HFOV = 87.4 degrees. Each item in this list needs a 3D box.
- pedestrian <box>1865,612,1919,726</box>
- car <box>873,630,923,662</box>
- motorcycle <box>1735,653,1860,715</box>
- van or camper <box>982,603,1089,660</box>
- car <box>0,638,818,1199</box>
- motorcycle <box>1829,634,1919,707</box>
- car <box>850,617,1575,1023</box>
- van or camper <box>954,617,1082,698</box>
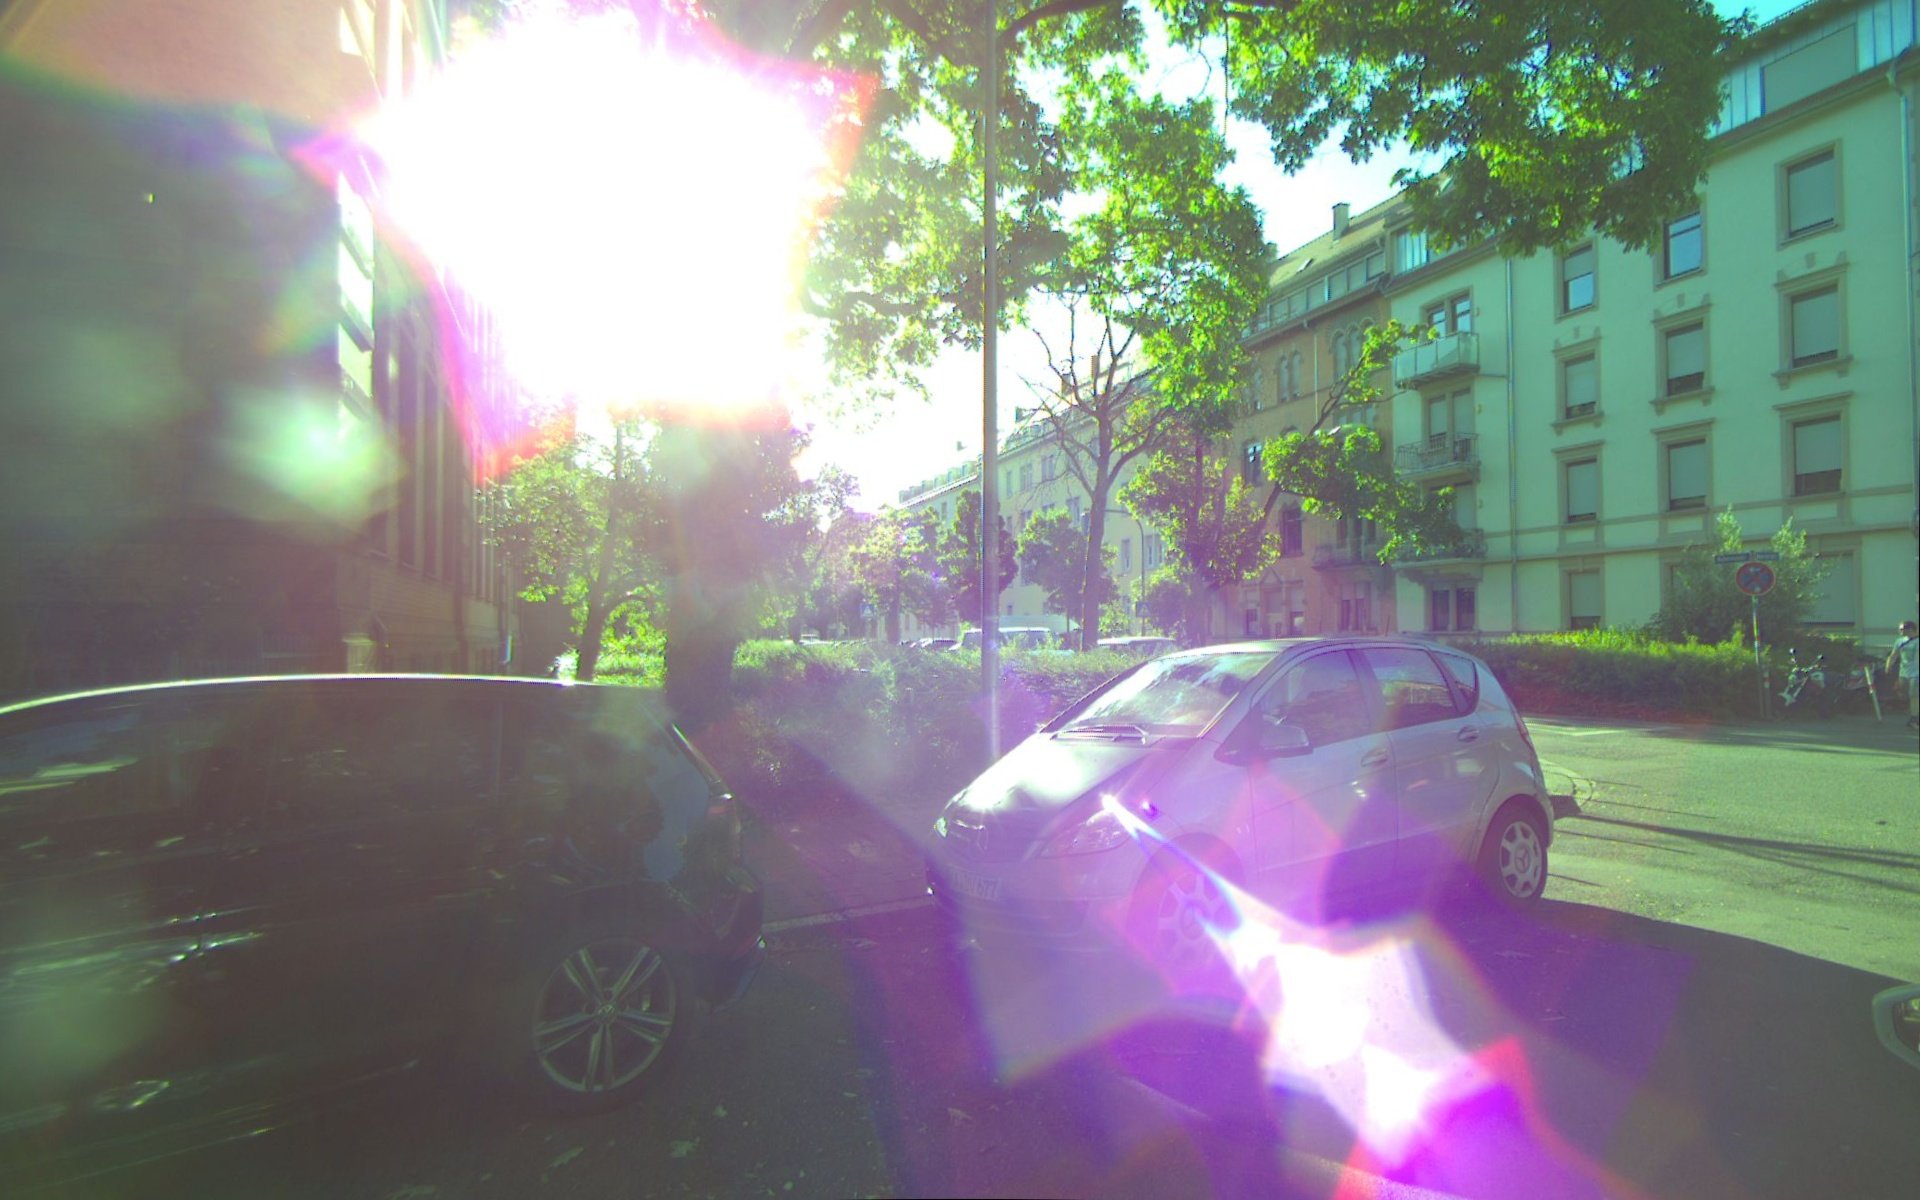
[{"bbox_3d":[15.817,1.133,16.865,0.617,1.863,0.722,0,0,-19],"label":"pedestrian"},{"bbox_3d":[-3.536,2.578,56.948,1.627,1.762,3.979,0,-2,-23],"label":"car"},{"bbox_3d":[14.920,1.489,17.903,1.788,0.999,0.690,0,2,-10],"label":"motorcycle"},{"bbox_3d":[3.704,1.532,49.043,4.852,2.671,1.989,0,-2,-24],"label":"van or camper"},{"bbox_3d":[-2.819,0.933,3.072,4.421,1.493,1.735,1,-6,-36],"label":"car"},{"bbox_3d":[17.095,1.306,18.780,1.585,1.311,0.518,0,0,-16],"label":"motorcycle"},{"bbox_3d":[1.505,0.946,5.665,3.874,1.570,1.689,1,-5,-31],"label":"car"},{"bbox_3d":[1.500,1.513,27.676,1.747,2.040,4.366,0,-2,-23],"label":"van or camper"}]
